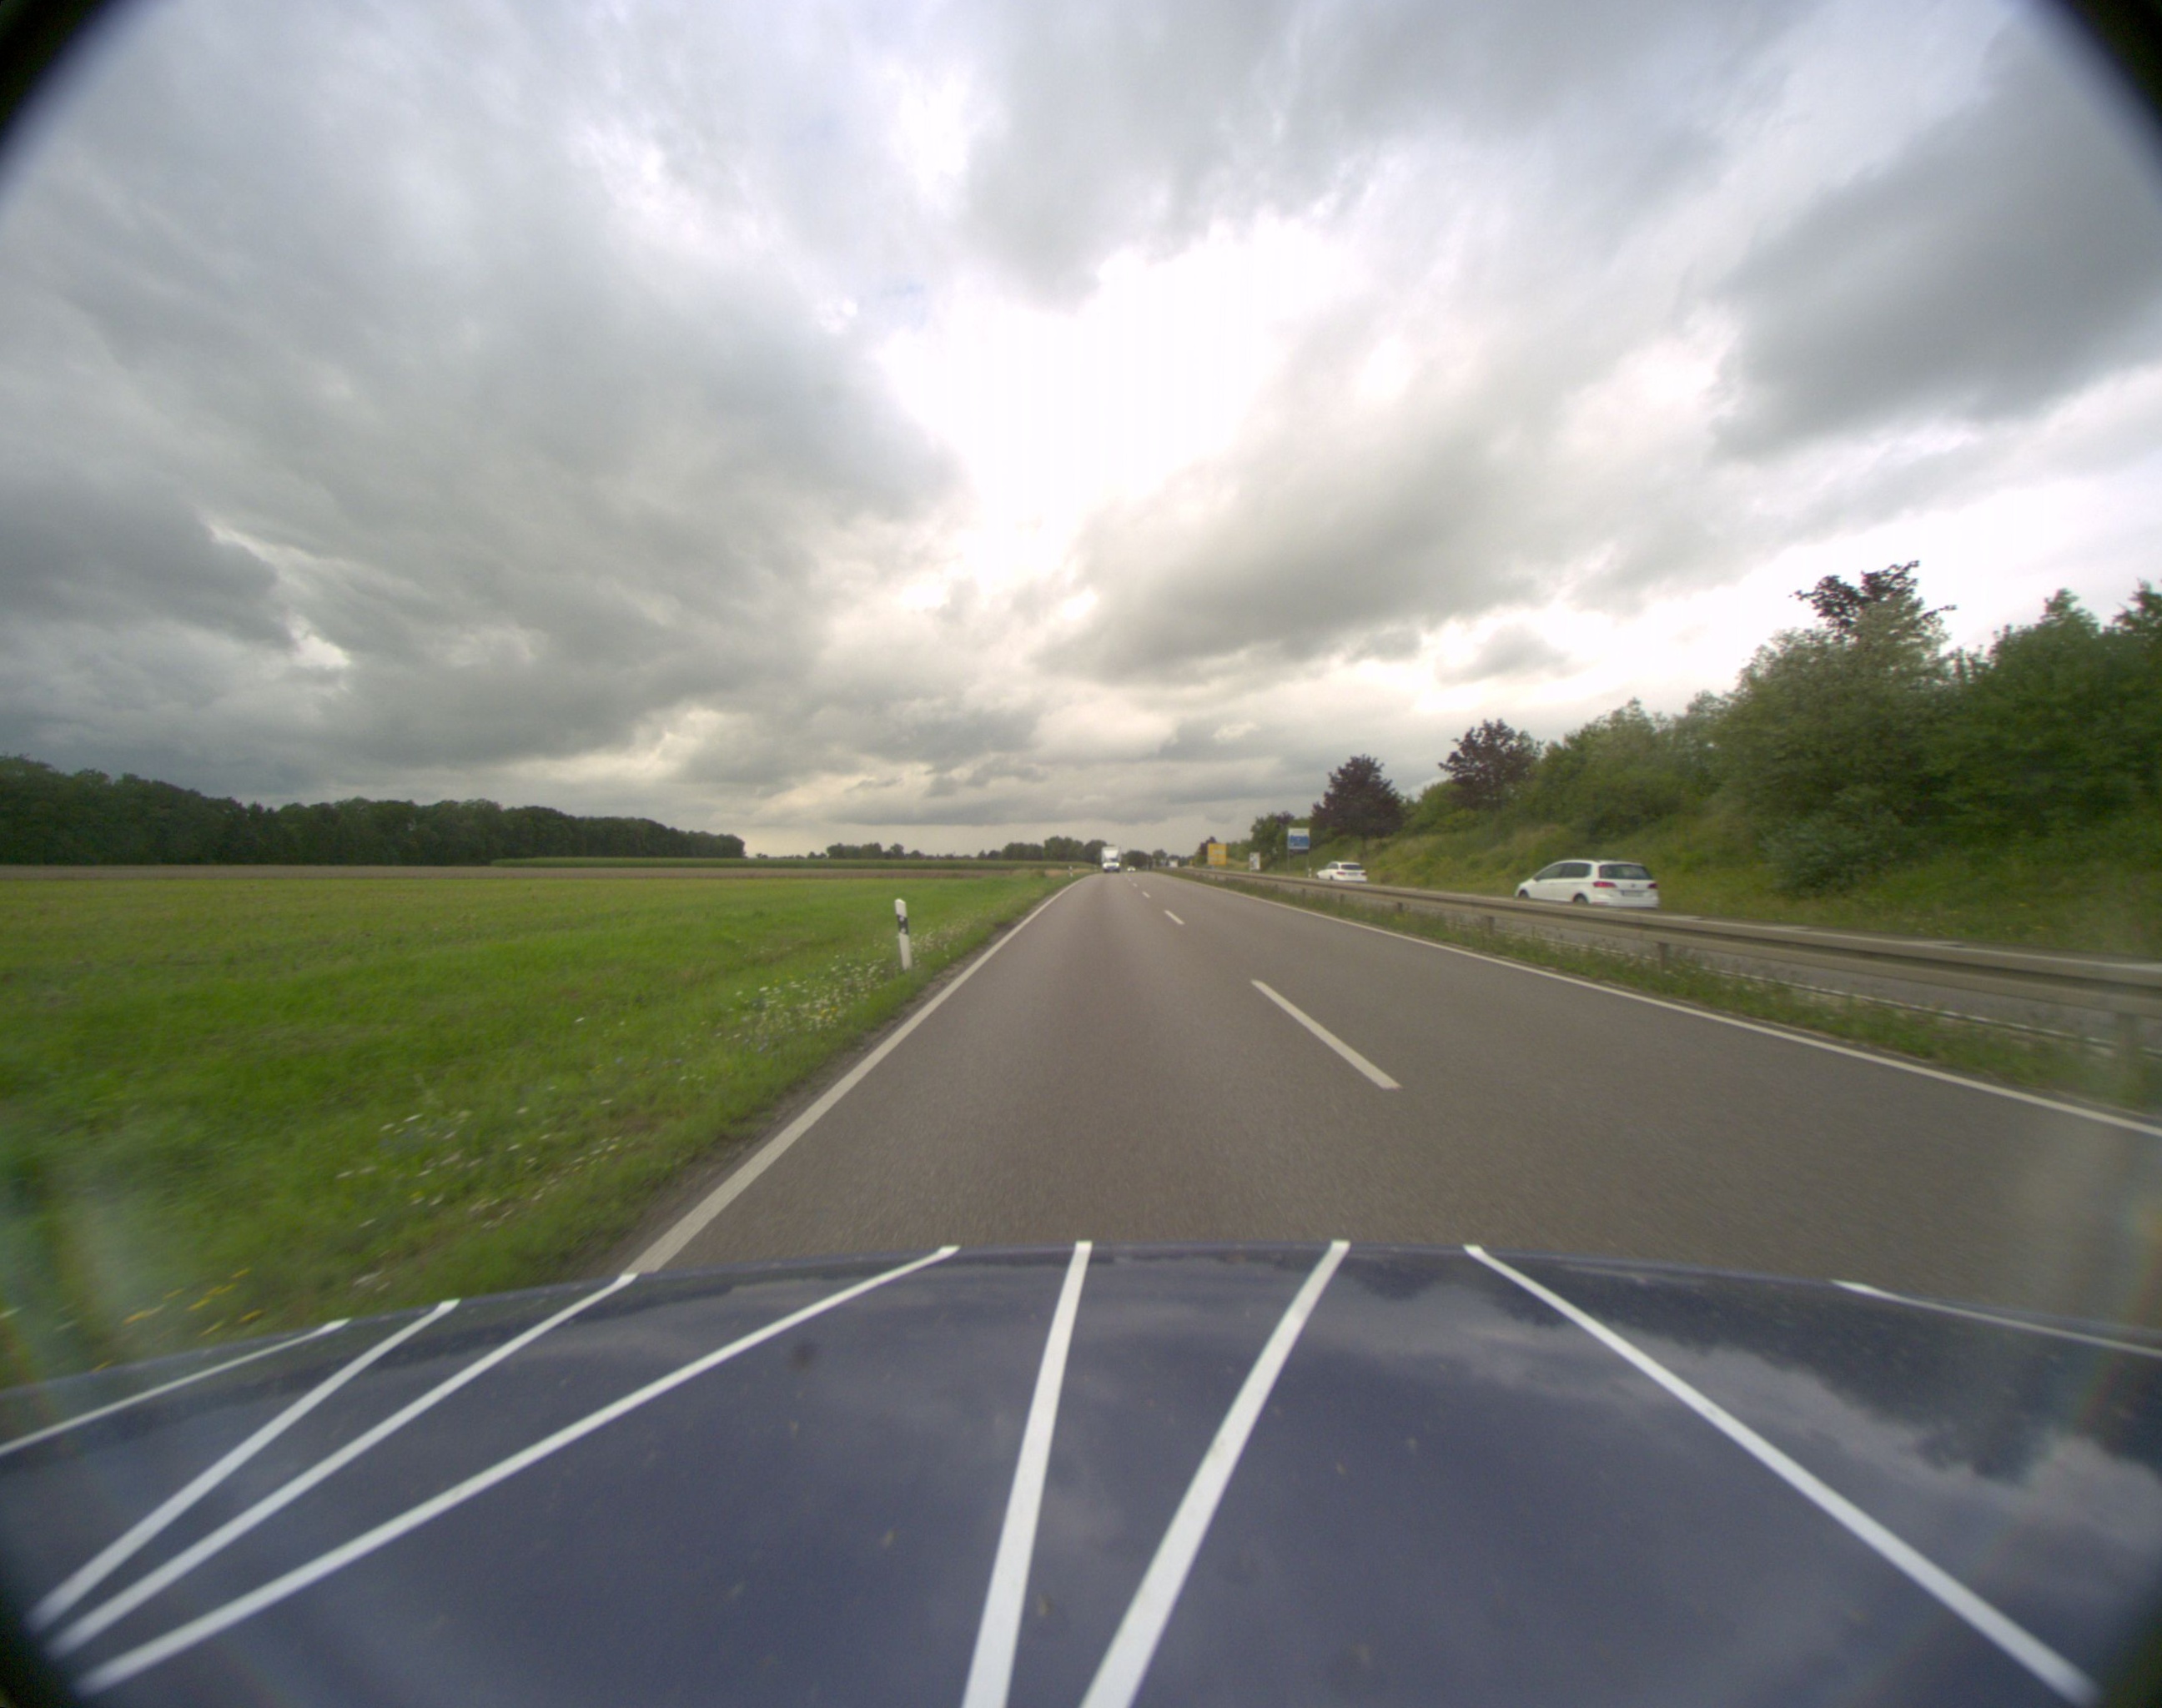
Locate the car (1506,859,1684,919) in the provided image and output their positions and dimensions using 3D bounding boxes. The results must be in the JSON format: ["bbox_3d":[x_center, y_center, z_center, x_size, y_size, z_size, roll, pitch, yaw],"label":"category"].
[{"bbox_3d":[14.054,0.930,21.161,1.925,1.508,4.464,0,-1,0],"label":"car"}]

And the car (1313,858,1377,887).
[{"bbox_3d":[14.932,1.055,43.216,1.998,1.508,4.990,0,-1,1],"label":"car"}]

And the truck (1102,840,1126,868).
[{"bbox_3d":[4.707,0.076,106.030,2.933,3.651,8.448,0,-1,5],"label":"truck"}]

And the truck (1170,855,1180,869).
[{"bbox_3d":[26.936,2.344,217.539,2.809,3.973,5.290,0,-1,5],"label":"truck"}]

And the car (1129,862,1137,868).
[{"bbox_3d":[13.850,2.885,203.189,2.090,1.509,4.196,0,-1,5],"label":"car"}]
